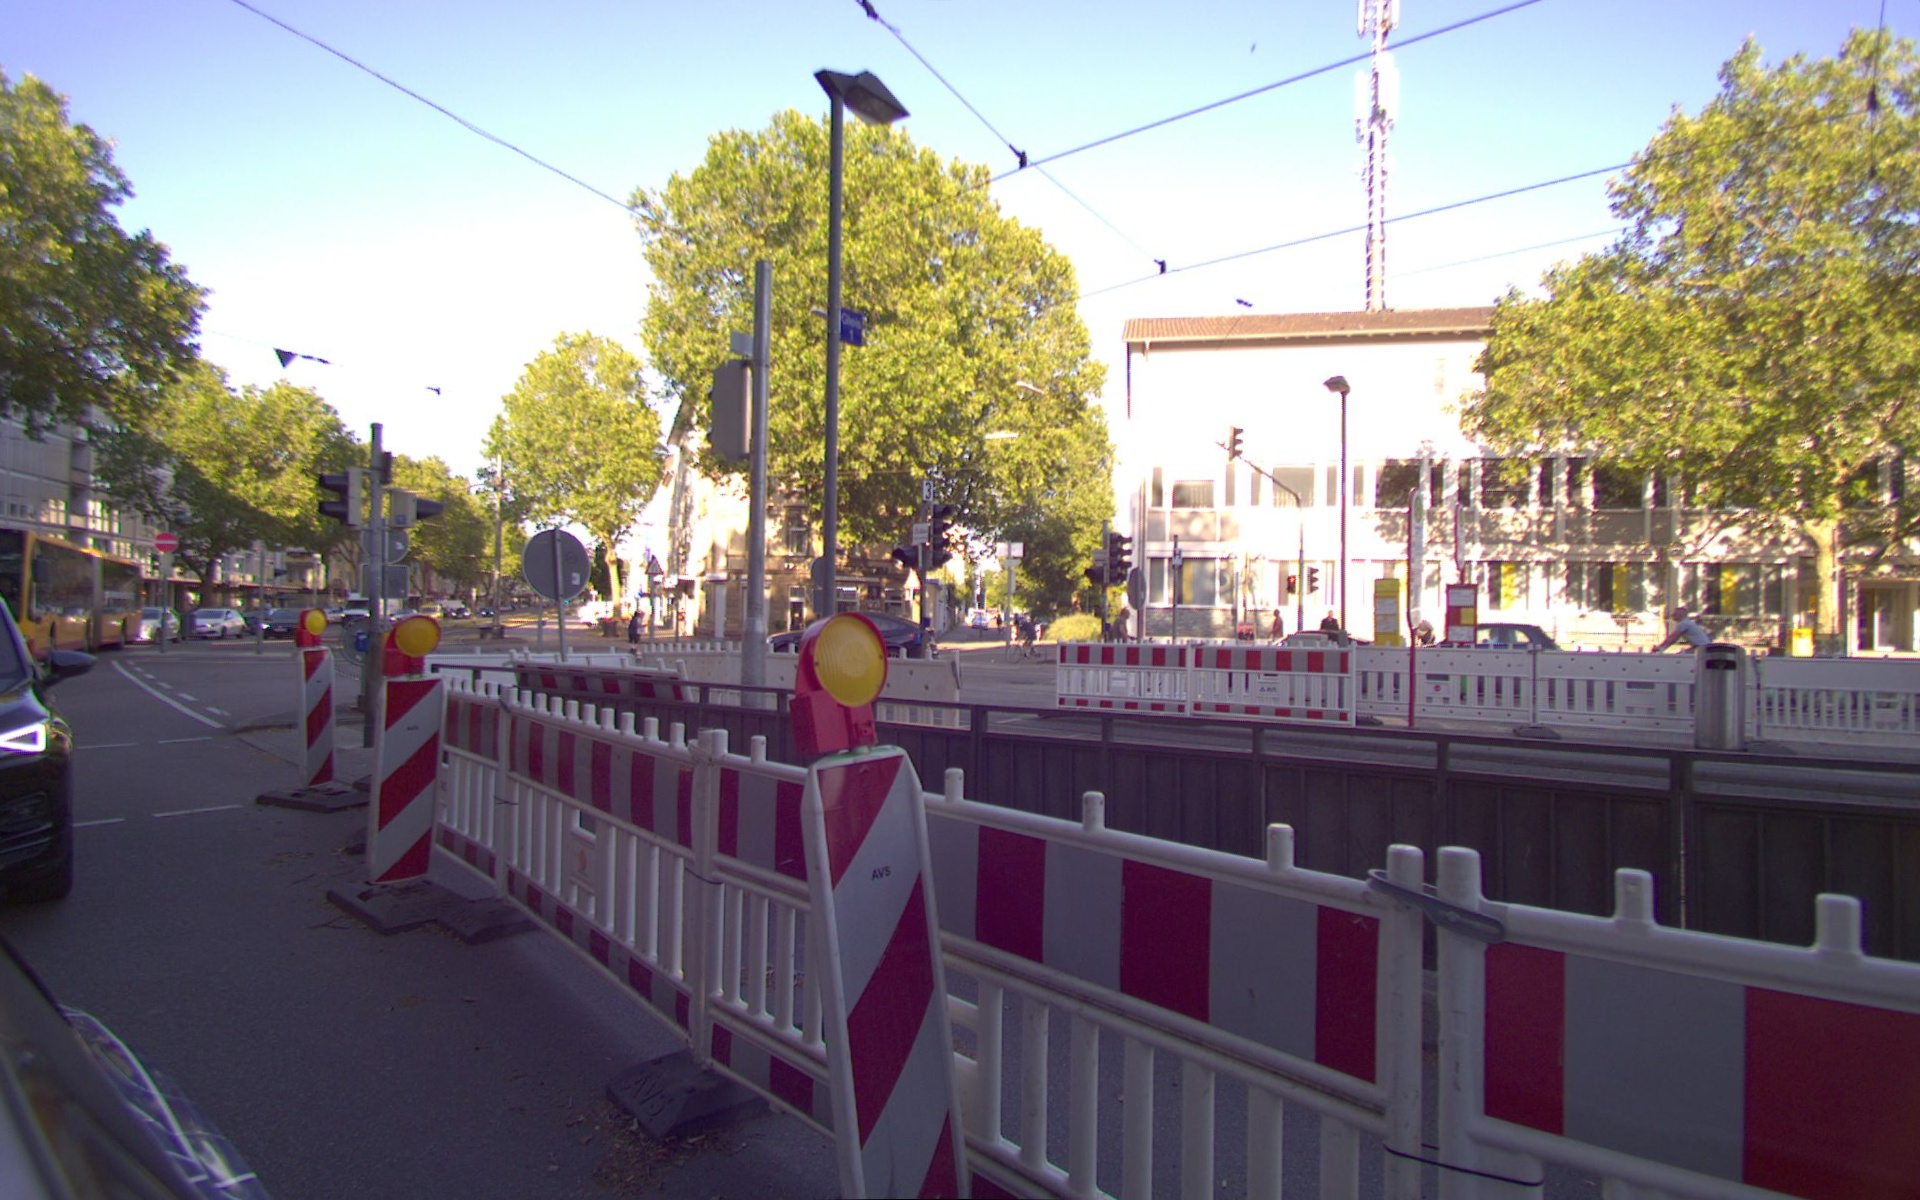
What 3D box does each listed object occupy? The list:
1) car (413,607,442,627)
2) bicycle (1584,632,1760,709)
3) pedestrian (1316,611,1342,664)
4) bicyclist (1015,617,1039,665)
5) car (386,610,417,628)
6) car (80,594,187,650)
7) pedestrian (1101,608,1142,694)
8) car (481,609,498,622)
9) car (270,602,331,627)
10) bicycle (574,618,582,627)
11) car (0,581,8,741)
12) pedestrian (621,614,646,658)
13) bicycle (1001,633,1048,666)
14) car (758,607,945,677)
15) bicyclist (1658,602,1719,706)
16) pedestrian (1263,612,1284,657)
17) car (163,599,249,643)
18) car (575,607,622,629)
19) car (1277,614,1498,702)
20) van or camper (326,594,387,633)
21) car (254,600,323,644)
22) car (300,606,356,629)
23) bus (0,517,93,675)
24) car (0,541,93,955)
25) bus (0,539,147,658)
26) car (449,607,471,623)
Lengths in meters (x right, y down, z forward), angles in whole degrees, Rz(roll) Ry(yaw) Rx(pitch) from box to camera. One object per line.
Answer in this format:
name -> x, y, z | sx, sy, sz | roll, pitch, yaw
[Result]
car -> -51.595, 1.645, 98.055 | 1.809, 1.816, 4.143 | 1, -1, -19
bicycle -> 12.367, 1.190, 17.665 | 2.475, 1.217, 0.683 | 0, -2, 36
pedestrian -> 11.091, 1.132, 30.430 | 0.649, 1.564, 0.563 | 0, -2, 29
bicyclist -> 2.308, 1.412, 34.831 | 0.643, 1.626, 0.544 | -1, -2, 41
car -> -47.423, 1.623, 85.998 | 1.675, 1.481, 3.776 | 1, -1, -19
car -> -31.818, 0.852, 39.109 | 1.965, 2.029, 4.111 | 1, -1, -21
pedestrian -> 3.382, 1.057, 21.184 | 0.545, 1.760, 0.693 | 1, -1, -24
car -> -67.708, 2.285, 145.746 | 1.809, 1.816, 4.143 | 1, -1, -19
car -> -54.787, 1.200, 84.072 | 3.938, 2.029, 2.003 | 2, -2, -42
bicycle -> -53.817, 3.130, 142.590 | 0.837, 1.202, 2.474 | 1, -1, -25
car -> -12.084, 0.614, 11.126 | 4.074, 1.655, 1.972 | 0, -2, 42
pedestrian -> -11.601, 1.272, 35.921 | 0.594, 1.545, 0.746 | 2, -2, -37
bicycle -> 2.226, 1.689, 34.896 | 1.621, 1.073, 0.543 | 0, -2, 41
car -> -2.794, 1.068, 26.539 | 4.508, 1.674, 1.994 | 1, -1, 10
bicyclist -> 12.606, 0.915, 17.524 | 0.833, 1.741, 0.726 | 0, -2, 36
pedestrian -> 10.436, 1.135, 33.691 | 0.582, 1.466, 0.581 | 0, -2, 25
car -> -35.811, 1.000, 48.177 | 1.966, 2.029, 4.012 | 1, -1, -16
car -> -35.045, 1.764, 98.228 | 1.990, 2.029, 3.962 | 0, -1, 27
car -> 9.092, 1.167, 21.646 | 3.995, 1.674, 1.974 | 0, -2, 38
van or camper -> -44.064, 0.987, 74.085 | 2.385, 2.739, 6.151 | 1, -1, -17
car -> -32.448, 1.041, 49.015 | 1.965, 2.029, 4.013 | 1, -1, -22
car -> -56.583, 1.557, 90.664 | 3.938, 2.029, 2.003 | 2, -2, -42
bus -> -22.063, -0.056, 23.106 | 2.678, 3.130, 8.642 | 2, -2, -36
car -> -5.893, 0.606, 5.055 | 3.999, 1.719, 1.818 | 0, -2, 42
bus -> -27.003, 0.024, 30.427 | 2.676, 3.130, 8.623 | 1, -1, -30
car -> -59.176, 1.790, 119.870 | 1.809, 1.816, 4.143 | 1, -1, -19
